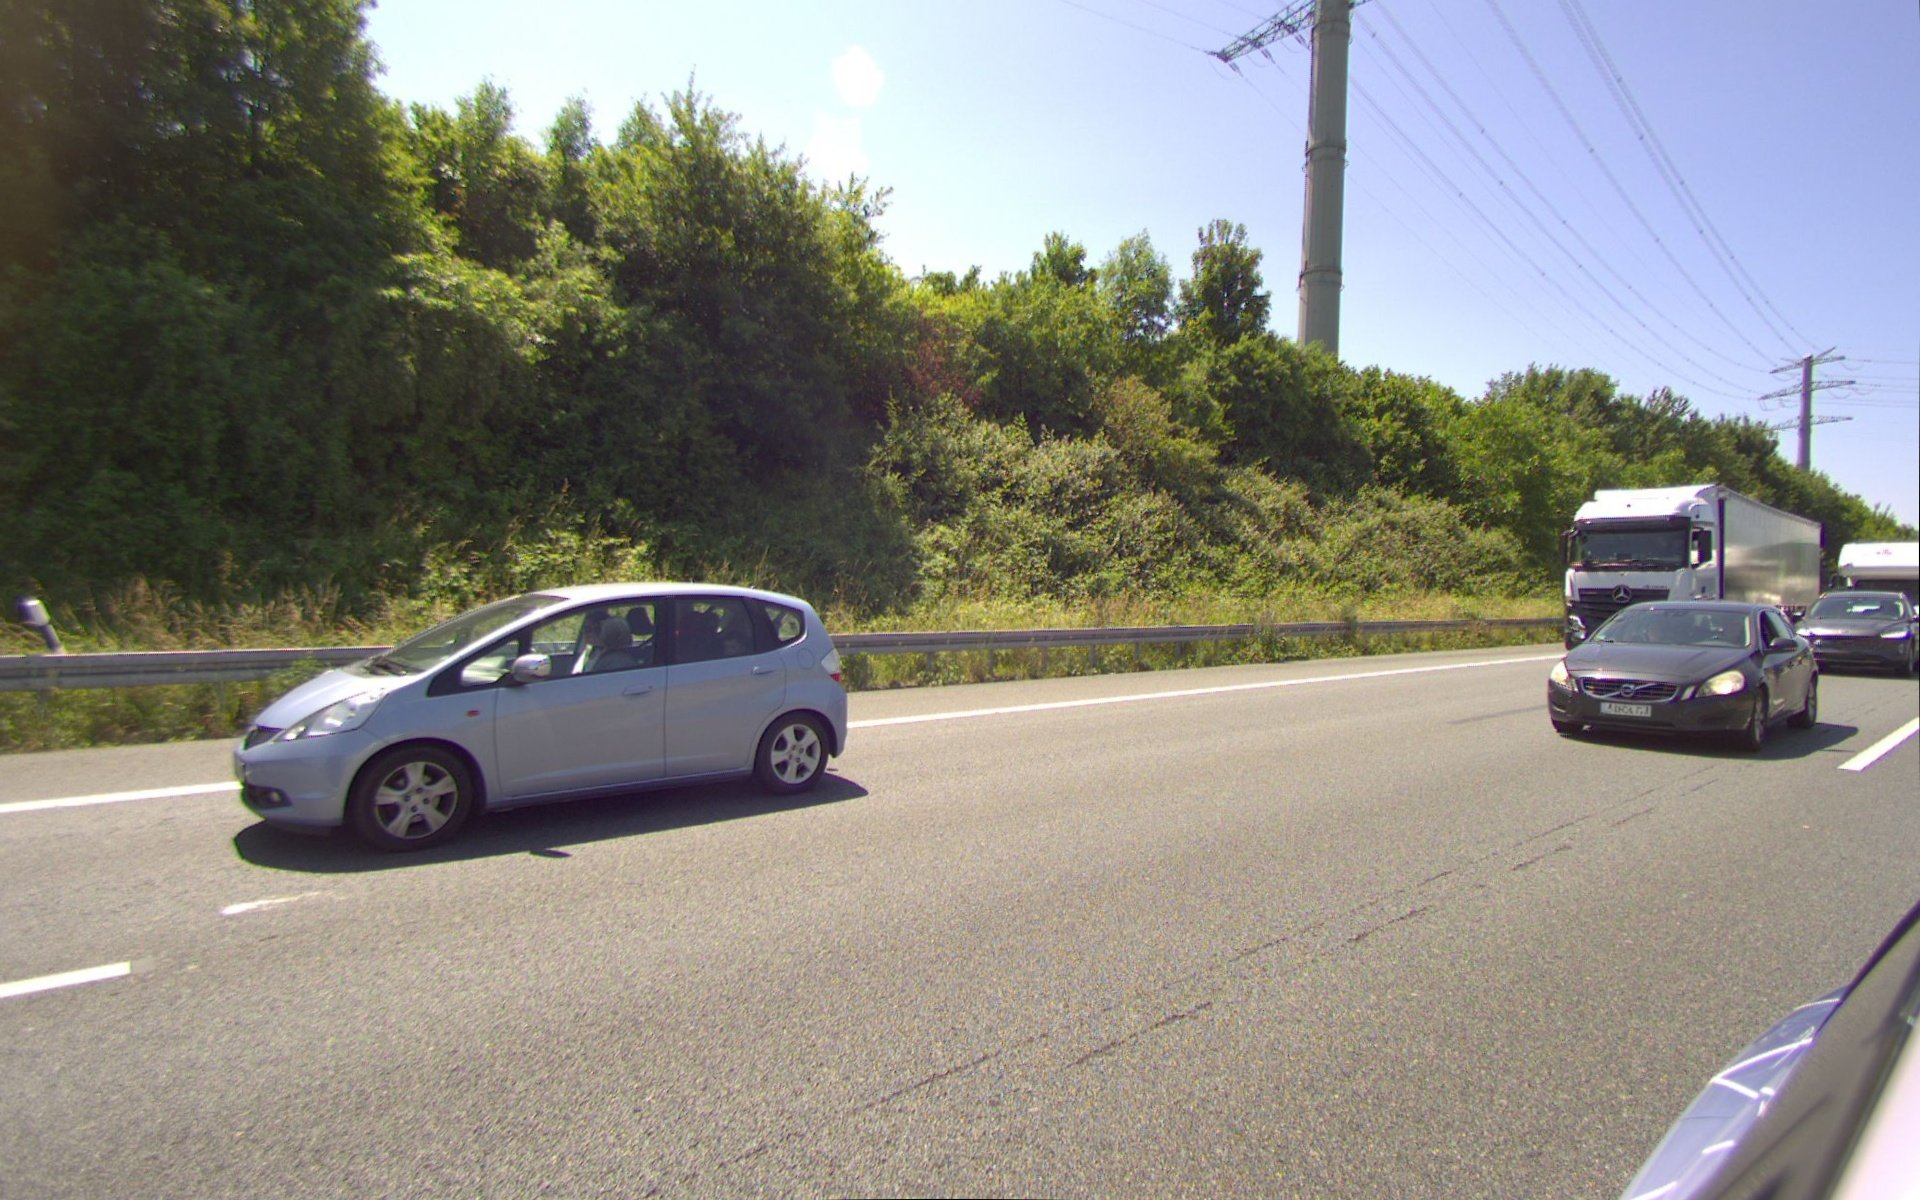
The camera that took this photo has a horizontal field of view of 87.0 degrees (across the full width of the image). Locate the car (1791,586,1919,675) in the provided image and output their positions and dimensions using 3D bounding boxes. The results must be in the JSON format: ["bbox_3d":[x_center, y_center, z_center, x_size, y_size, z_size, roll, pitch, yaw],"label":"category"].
[{"bbox_3d":[18.599,0.533,20.619,4.146,1.631,1.892,-1,0,-41],"label":"car"}]

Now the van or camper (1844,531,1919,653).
[{"bbox_3d":[26.915,-0.232,28.226,7.499,3.082,2.373,-1,0,-41],"label":"van or camper"}]

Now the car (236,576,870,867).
[{"bbox_3d":[-2.624,0.590,6.967,3.721,1.466,1.704,-1,0,-41],"label":"car"}]

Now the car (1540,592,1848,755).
[{"bbox_3d":[8.261,0.647,11.230,4.431,1.437,1.798,-1,0,-41],"label":"car"}]

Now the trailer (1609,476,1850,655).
[{"bbox_3d":[22.046,-0.852,28.500,12.882,4.098,2.788,-1,0,-41],"label":"trailer"}]

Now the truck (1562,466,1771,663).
[{"bbox_3d":[16.810,-0.771,23.960,5.692,4.098,2.738,-1,0,-41],"label":"truck"}]
